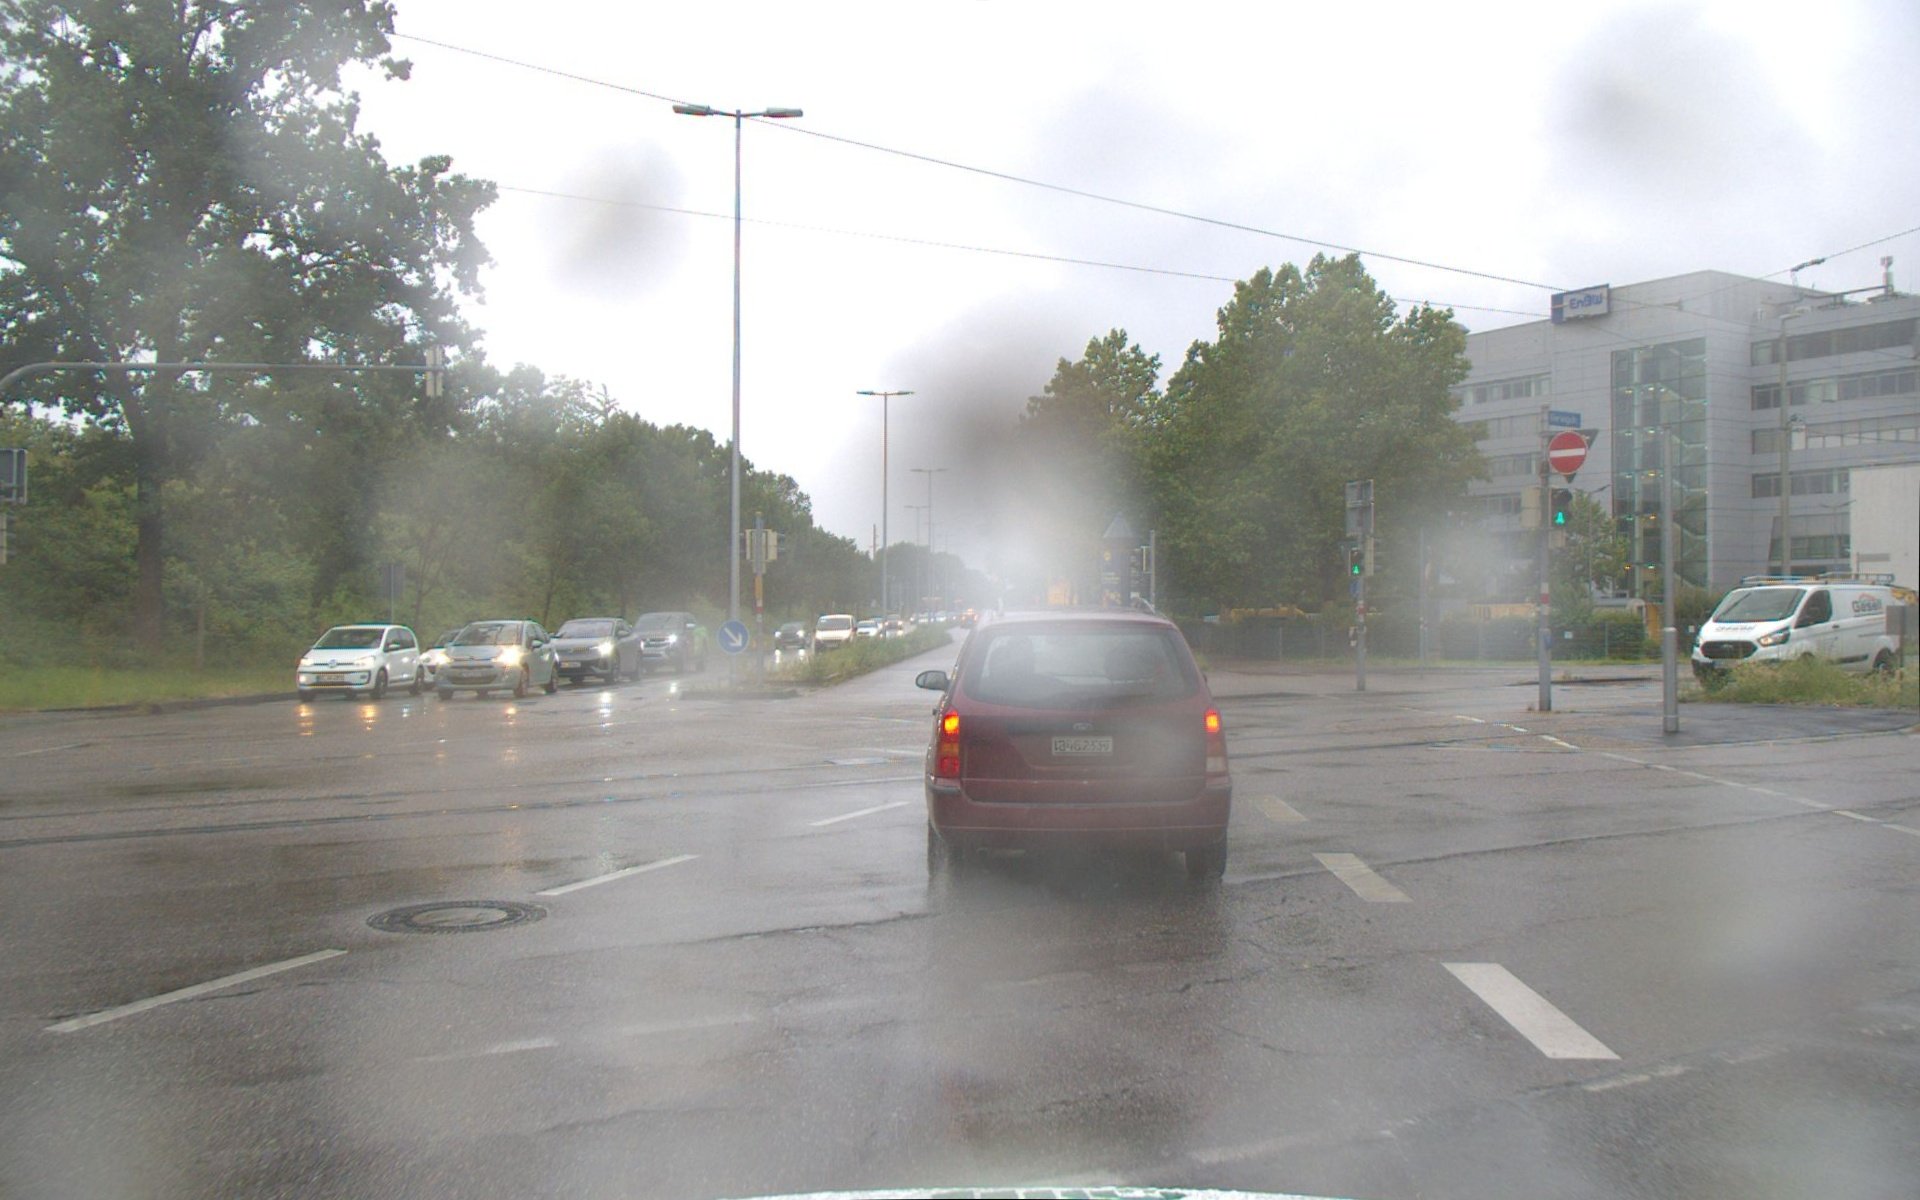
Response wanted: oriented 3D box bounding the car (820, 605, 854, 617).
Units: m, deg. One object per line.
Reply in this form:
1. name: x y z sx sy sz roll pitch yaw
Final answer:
1. car: -16.512 1.509 222.654 4.232 1.625 1.946 0 -1 -34

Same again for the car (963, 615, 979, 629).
1. car: 1.215 2.404 181.183 1.662 1.555 3.847 0 -1 3

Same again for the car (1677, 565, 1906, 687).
1. car: 15.868 0.500 31.496 4.635 2.163 1.975 0 -1 -36

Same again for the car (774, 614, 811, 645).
1. car: -10.114 1.766 100.026 1.708 1.732 4.284 2 -1 0

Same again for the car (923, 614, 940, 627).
1. car: -3.738 2.711 216.629 1.922 1.625 4.284 -1 -1 1

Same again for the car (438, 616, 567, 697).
1. car: -9.118 1.086 33.258 1.605 1.499 3.963 -1 -1 -2

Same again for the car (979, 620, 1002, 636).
1. car: 3.088 2.786 166.344 2.102 1.555 4.194 0 -1 4

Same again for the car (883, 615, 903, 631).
1. car: -7.108 2.411 175.281 1.922 1.625 4.284 -1 -1 0

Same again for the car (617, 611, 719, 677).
1. car: -8.749 1.284 50.006 2.023 1.851 5.541 -1 -1 0

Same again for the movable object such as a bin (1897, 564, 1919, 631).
1. movable object such as a bin: 45.432 -0.144 75.738 3.289 3.048 3.291 0 -1 -34

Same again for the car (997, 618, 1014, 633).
1. car: 4.752 2.681 173.027 1.662 1.555 3.847 0 -1 3

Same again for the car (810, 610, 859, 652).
1. car: -5.474 1.326 72.621 1.708 1.732 4.284 -2 -1 0

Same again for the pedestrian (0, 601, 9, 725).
1. pedestrian: -15.033 0.956 24.711 1.082 1.879 1.128 0 -1 -10

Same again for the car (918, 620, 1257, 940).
1. car: 0.642 0.900 9.934 1.608 1.490 3.732 2 -1 1

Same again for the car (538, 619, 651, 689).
1. car: -9.053 1.328 41.337 1.726 1.614 4.813 -1 -1 0

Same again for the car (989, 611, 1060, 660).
1. car: 2.415 1.313 62.842 1.705 1.756 4.231 1 -1 -12

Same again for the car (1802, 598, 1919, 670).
1. car: 22.266 0.788 39.864 4.332 1.650 1.754 0 -1 -36

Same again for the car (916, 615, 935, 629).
1. car: -3.966 2.510 191.828 1.922 1.625 4.284 -1 -1 1

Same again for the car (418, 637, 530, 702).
1. car: -11.789 1.661 40.325 1.558 1.428 3.823 -1 -1 0

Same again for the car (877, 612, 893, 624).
1. car: -10.162 2.466 224.740 1.922 1.625 4.284 -1 -1 0

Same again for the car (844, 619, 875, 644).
1. car: -7.219 2.256 119.423 1.922 1.732 4.284 -1 -1 0

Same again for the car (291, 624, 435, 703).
1. car: -12.168 1.256 33.955 1.605 1.478 3.787 -1 -1 -1
